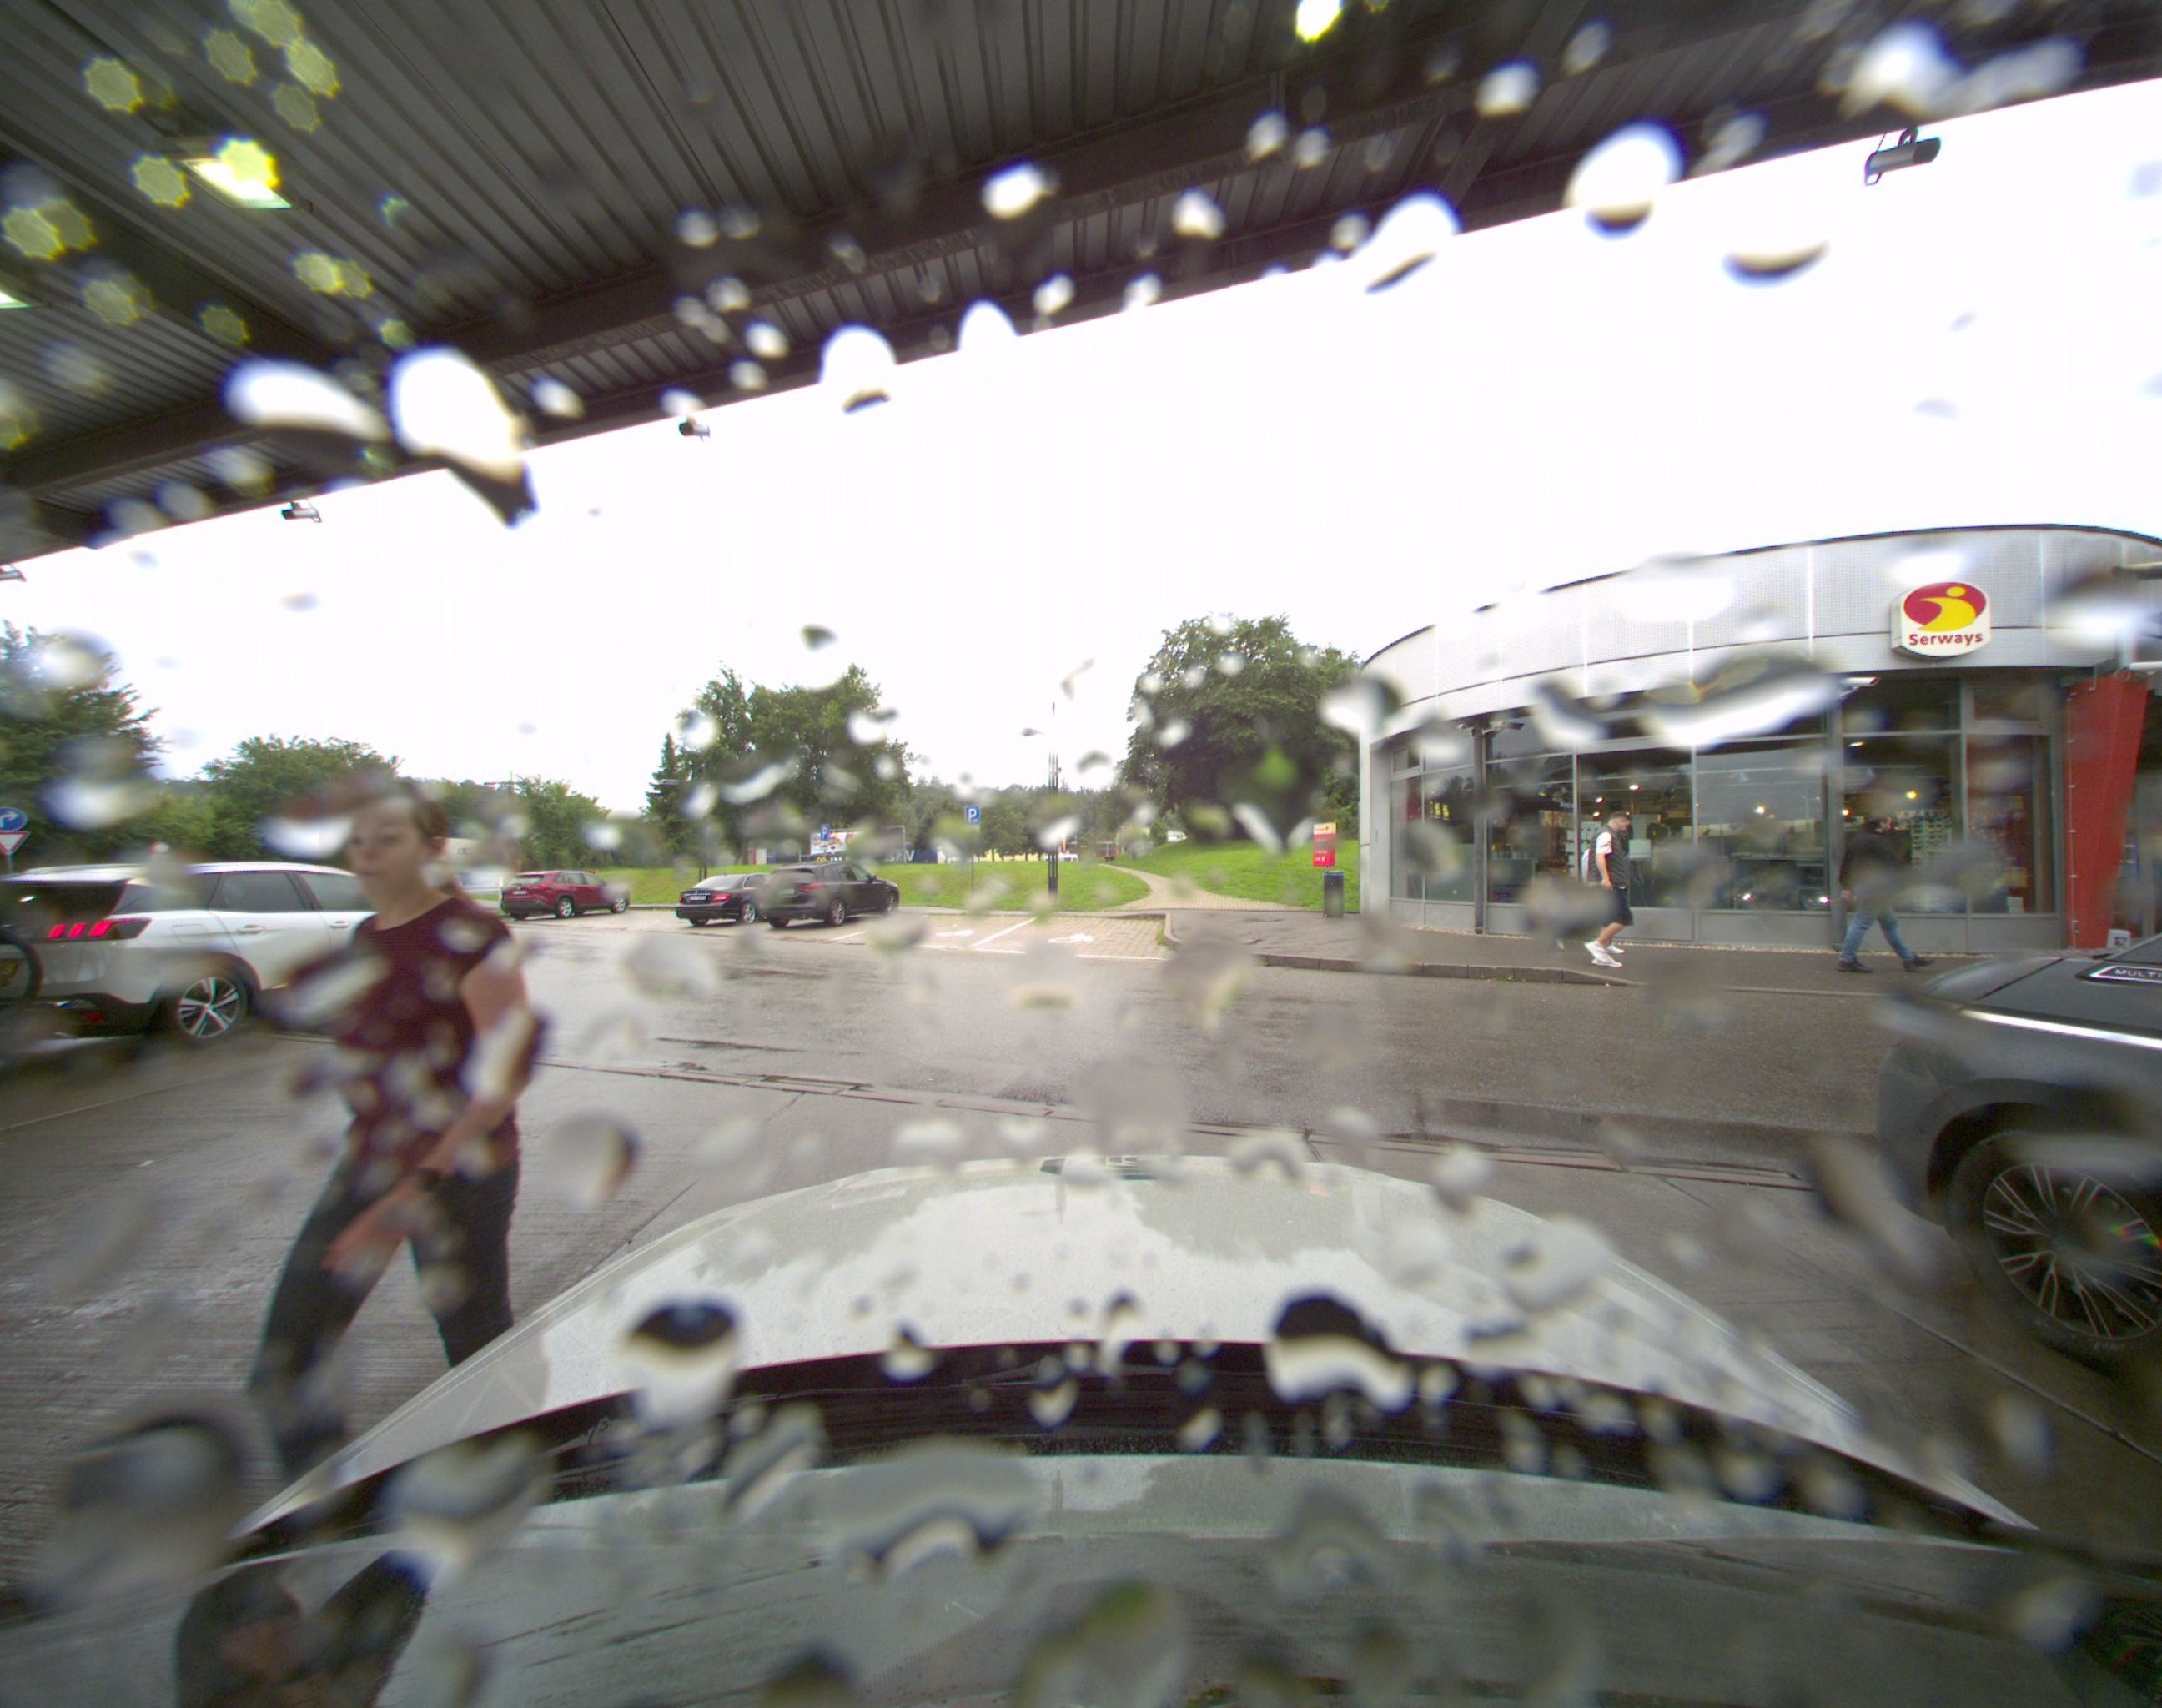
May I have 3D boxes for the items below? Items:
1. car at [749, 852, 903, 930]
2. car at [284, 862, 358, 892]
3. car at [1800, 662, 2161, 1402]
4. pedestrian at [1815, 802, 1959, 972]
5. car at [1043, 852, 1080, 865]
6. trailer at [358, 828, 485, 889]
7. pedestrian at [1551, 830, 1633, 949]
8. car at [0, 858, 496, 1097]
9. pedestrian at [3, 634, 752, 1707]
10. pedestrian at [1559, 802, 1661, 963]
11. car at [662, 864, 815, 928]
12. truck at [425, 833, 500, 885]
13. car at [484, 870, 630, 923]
[{"bbox_3d":[-6.618,0.885,21.738,1.871,1.828,4.429,-2,0,13],"label":"car"},{"bbox_3d":[-49.405,1.448,53.060,1.934,1.838,4.361,-1,0,-20],"label":"car"},{"bbox_3d":[3.716,0.463,1.228,1.809,1.948,4.002,-1,0,2],"label":"car"},{"bbox_3d":[9.367,0.362,9.515,0.989,1.864,0.804,-2,0,30],"label":"pedestrian"},{"bbox_3d":[-3.192,0.794,134.075,5.376,2.013,2.468,-1,0,21],"label":"car"},{"bbox_3d":[-54.893,0.417,68.473,3.466,4.557,13.827,0,-1,-18],"label":"trailer"},{"bbox_3d":[6.952,0.468,11.115,0.880,1.550,0.665,-2,0,31],"label":"pedestrian"},{"bbox_3d":[-8.165,0.839,7.686,1.810,1.565,4.999,0,0,-2],"label":"car"},{"bbox_3d":[-1.305,0.548,1.690,0.789,1.734,0.842,-1,-1,10],"label":"pedestrian"},{"bbox_3d":[6.410,0.337,9.922,0.963,1.848,0.778,-2,0,30],"label":"pedestrian"},{"bbox_3d":[-9.620,1.134,23.294,1.871,1.565,4.200,-2,0,13],"label":"car"},{"bbox_3d":[-57.116,0.490,75.413,3.467,4.557,6.694,0,-1,-18],"label":"truck"},{"bbox_3d":[-18.161,1.412,28.518,1.873,1.596,4.364,-2,0,8],"label":"car"}]
